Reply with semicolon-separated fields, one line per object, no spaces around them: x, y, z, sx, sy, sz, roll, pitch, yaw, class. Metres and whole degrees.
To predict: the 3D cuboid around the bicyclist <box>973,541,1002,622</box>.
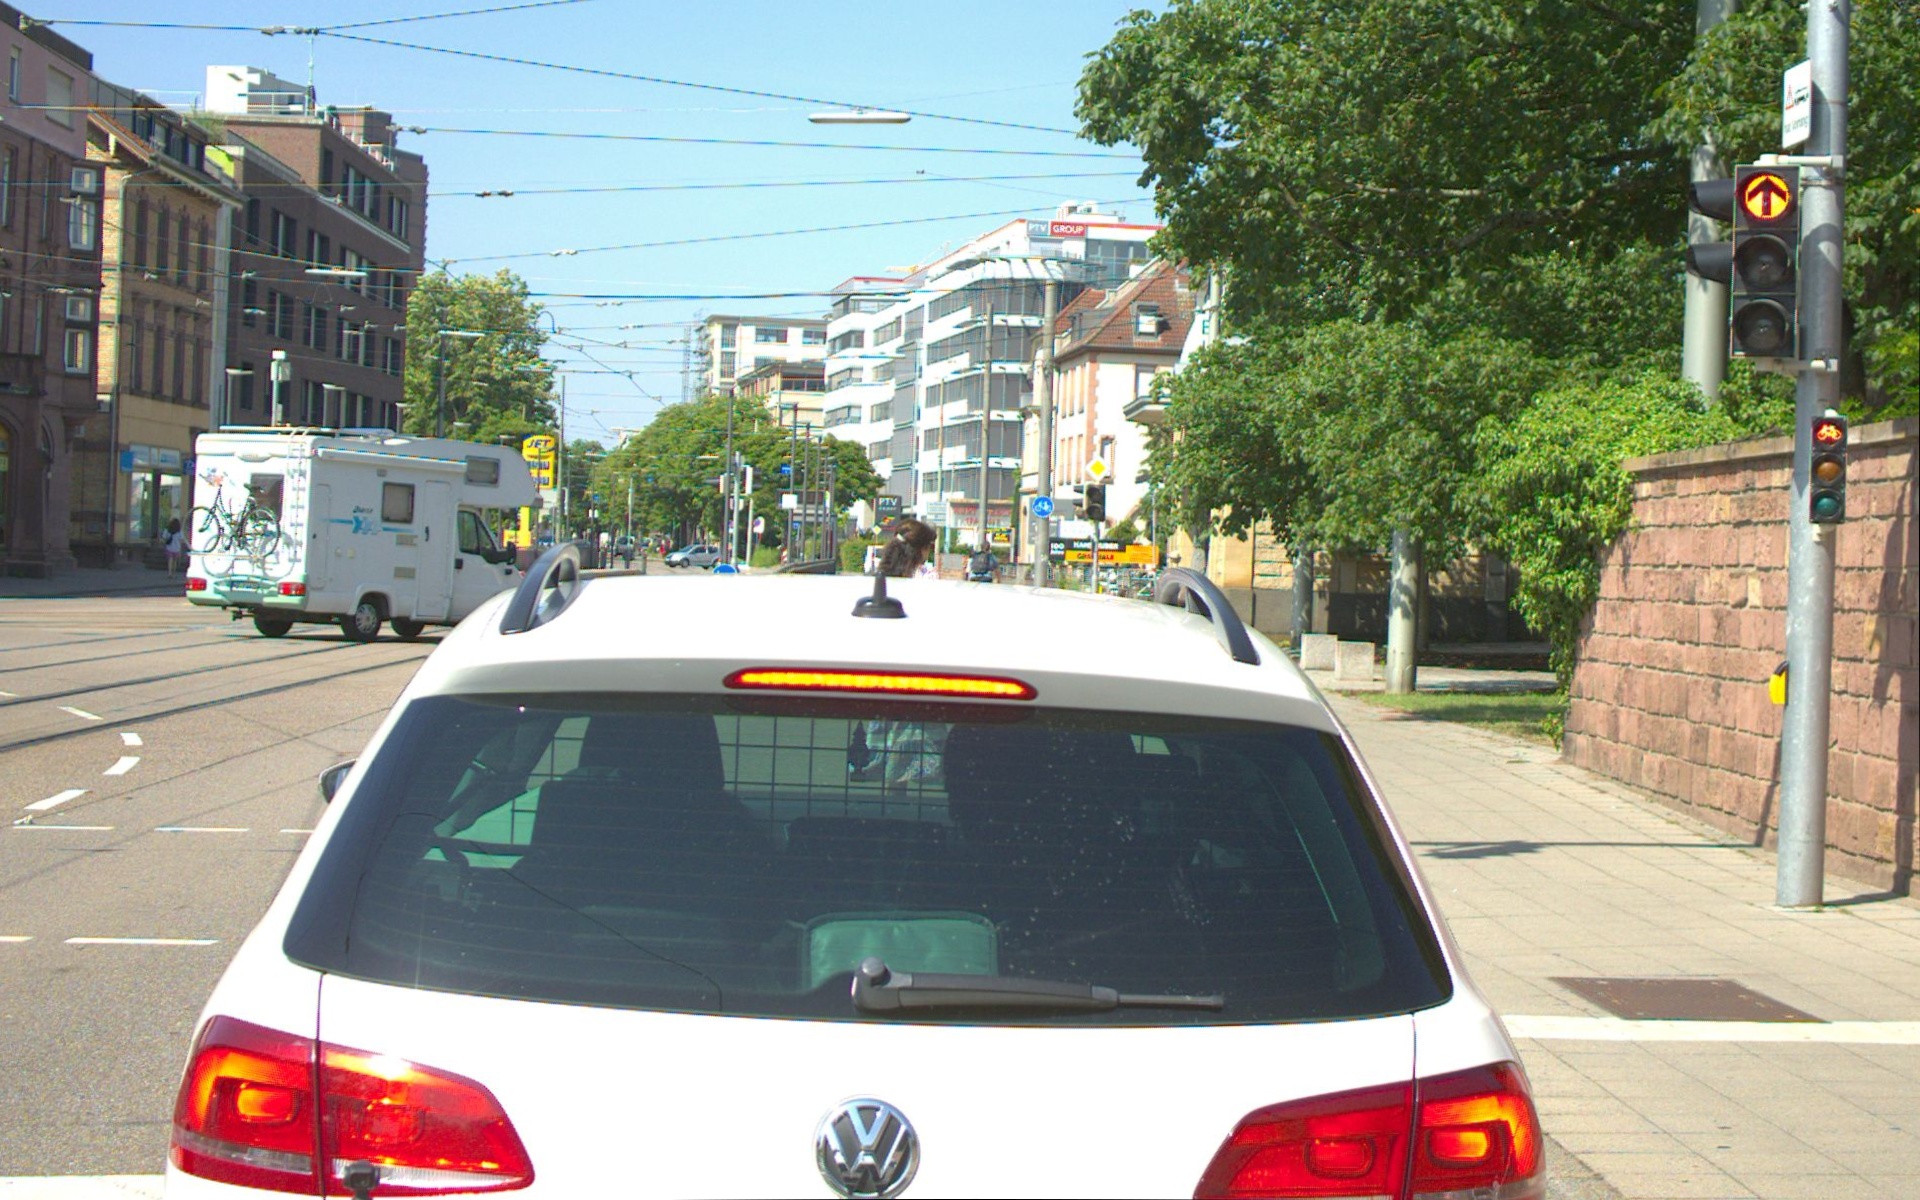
0.538;-0.364;67.967;0.561;1.607;0.638;0;0;0;bicyclist

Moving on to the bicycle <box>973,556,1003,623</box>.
0.542;-0.199;67.977;0.558;1.293;2.249;0;0;0;bicycle

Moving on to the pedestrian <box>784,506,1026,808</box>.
-0.310;0.311;19.449;0.955;1.645;0.972;0;0;44;pedestrian

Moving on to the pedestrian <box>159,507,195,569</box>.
-22.399;-1.771;98.341;0.861;1.737;0.975;0;0;-6;pedestrian

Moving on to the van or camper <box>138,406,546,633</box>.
-8.865;-1.092;49.855;2.572;3.082;5.692;0;0;34;van or camper

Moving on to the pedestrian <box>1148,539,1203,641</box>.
3.715;-0.171;59.203;0.862;1.737;0.974;0;0;8;pedestrian

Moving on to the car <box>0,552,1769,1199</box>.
-0.146;0.679;5.430;1.808;1.443;4.000;2;1;-1;car
